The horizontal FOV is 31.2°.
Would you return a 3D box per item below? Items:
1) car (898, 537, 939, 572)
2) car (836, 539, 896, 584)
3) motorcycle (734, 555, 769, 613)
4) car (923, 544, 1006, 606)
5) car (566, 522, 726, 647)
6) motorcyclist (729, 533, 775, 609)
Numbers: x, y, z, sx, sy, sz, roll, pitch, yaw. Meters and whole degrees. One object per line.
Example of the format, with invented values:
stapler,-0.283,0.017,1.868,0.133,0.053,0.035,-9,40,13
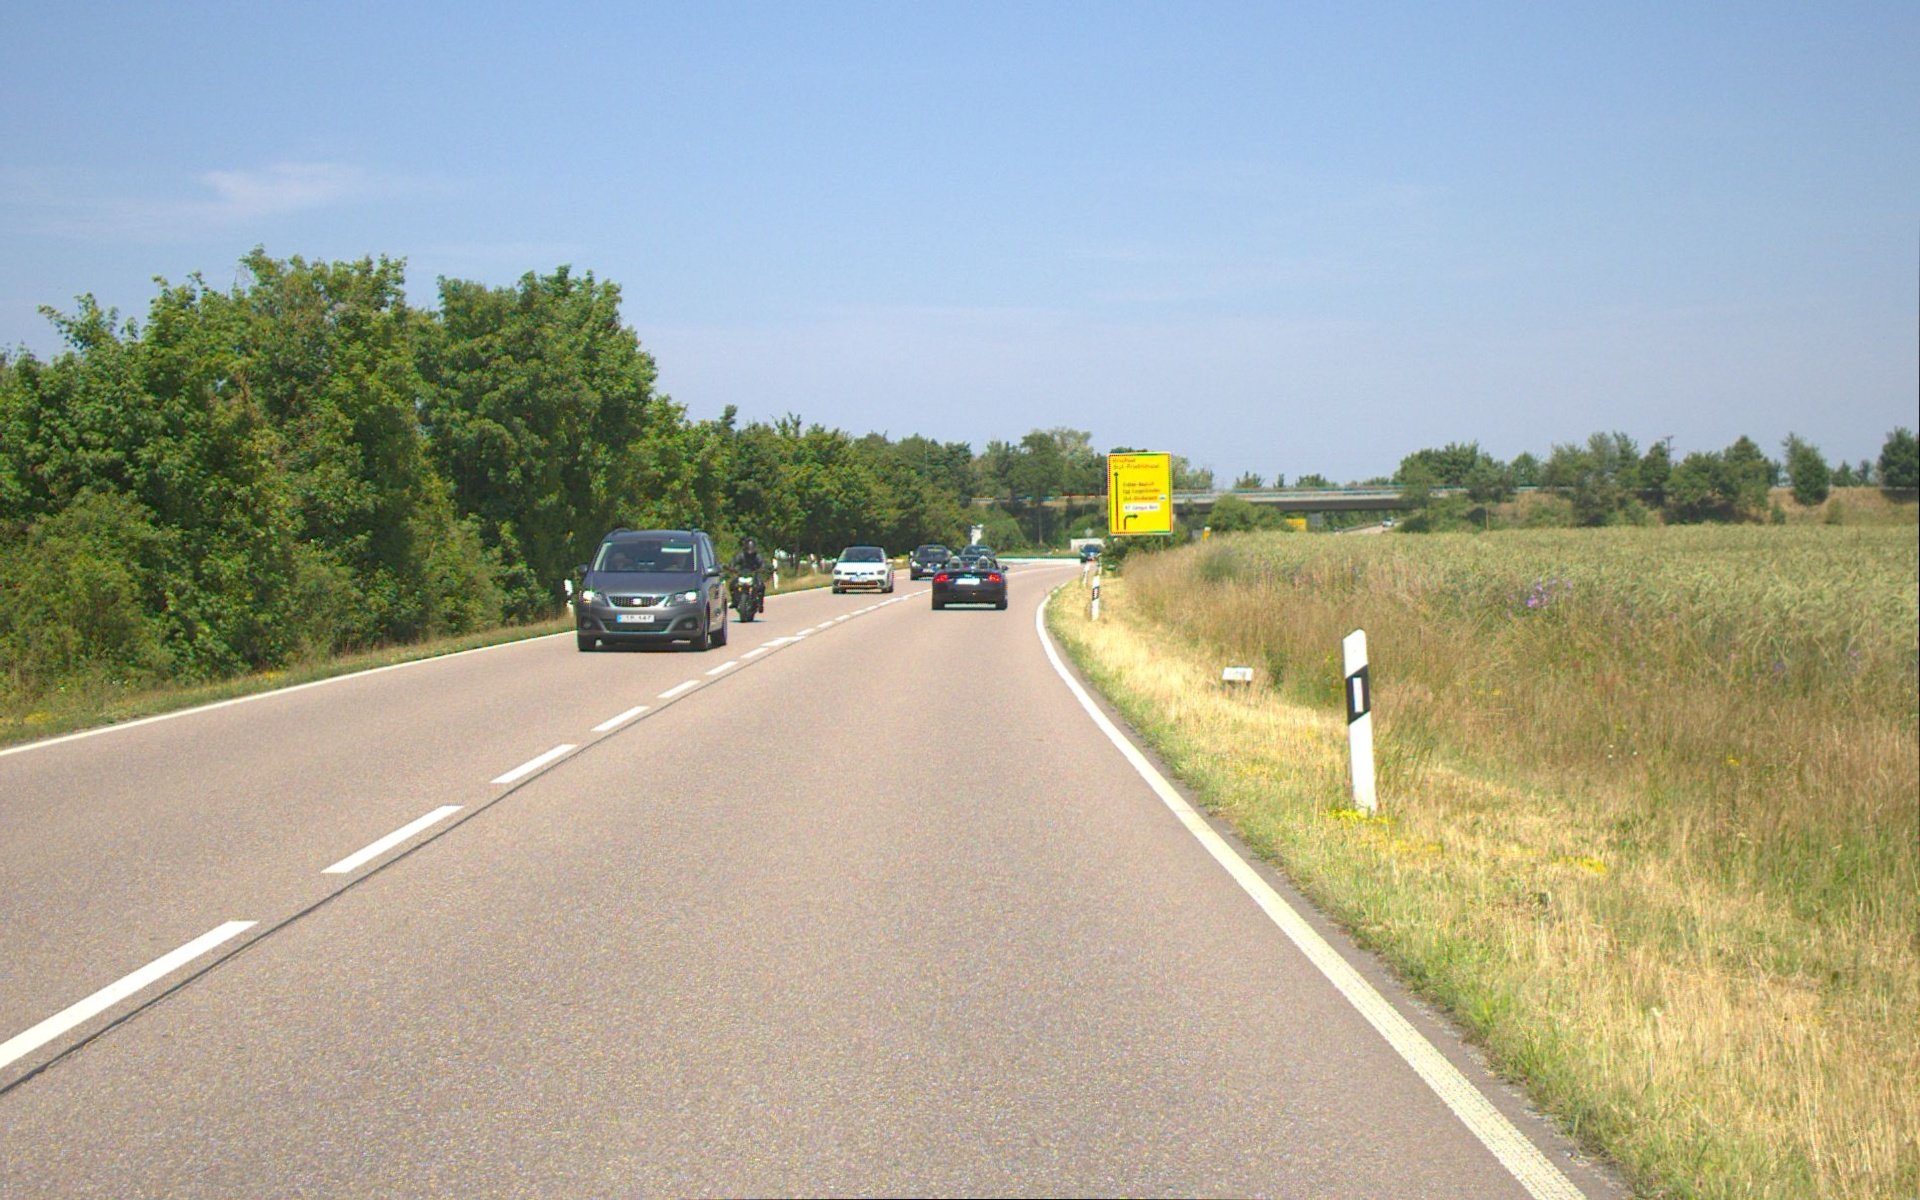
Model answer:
car,-1.755,-1.937,146.009,1.597,1.437,4.000,1,1,1
car,-2.928,-1.208,107.361,1.707,1.377,3.819,0,1,1
motorcycle,-4.095,-0.319,67.575,0.617,1.104,2.022,0,1,-2
car,0.141,-0.606,81.953,1.814,1.436,4.000,1,1,2
car,-4.446,-0.254,49.283,1.818,1.695,5.001,0,1,0
motorcyclist,-4.078,-0.571,67.466,0.835,1.469,1.818,0,1,-2
